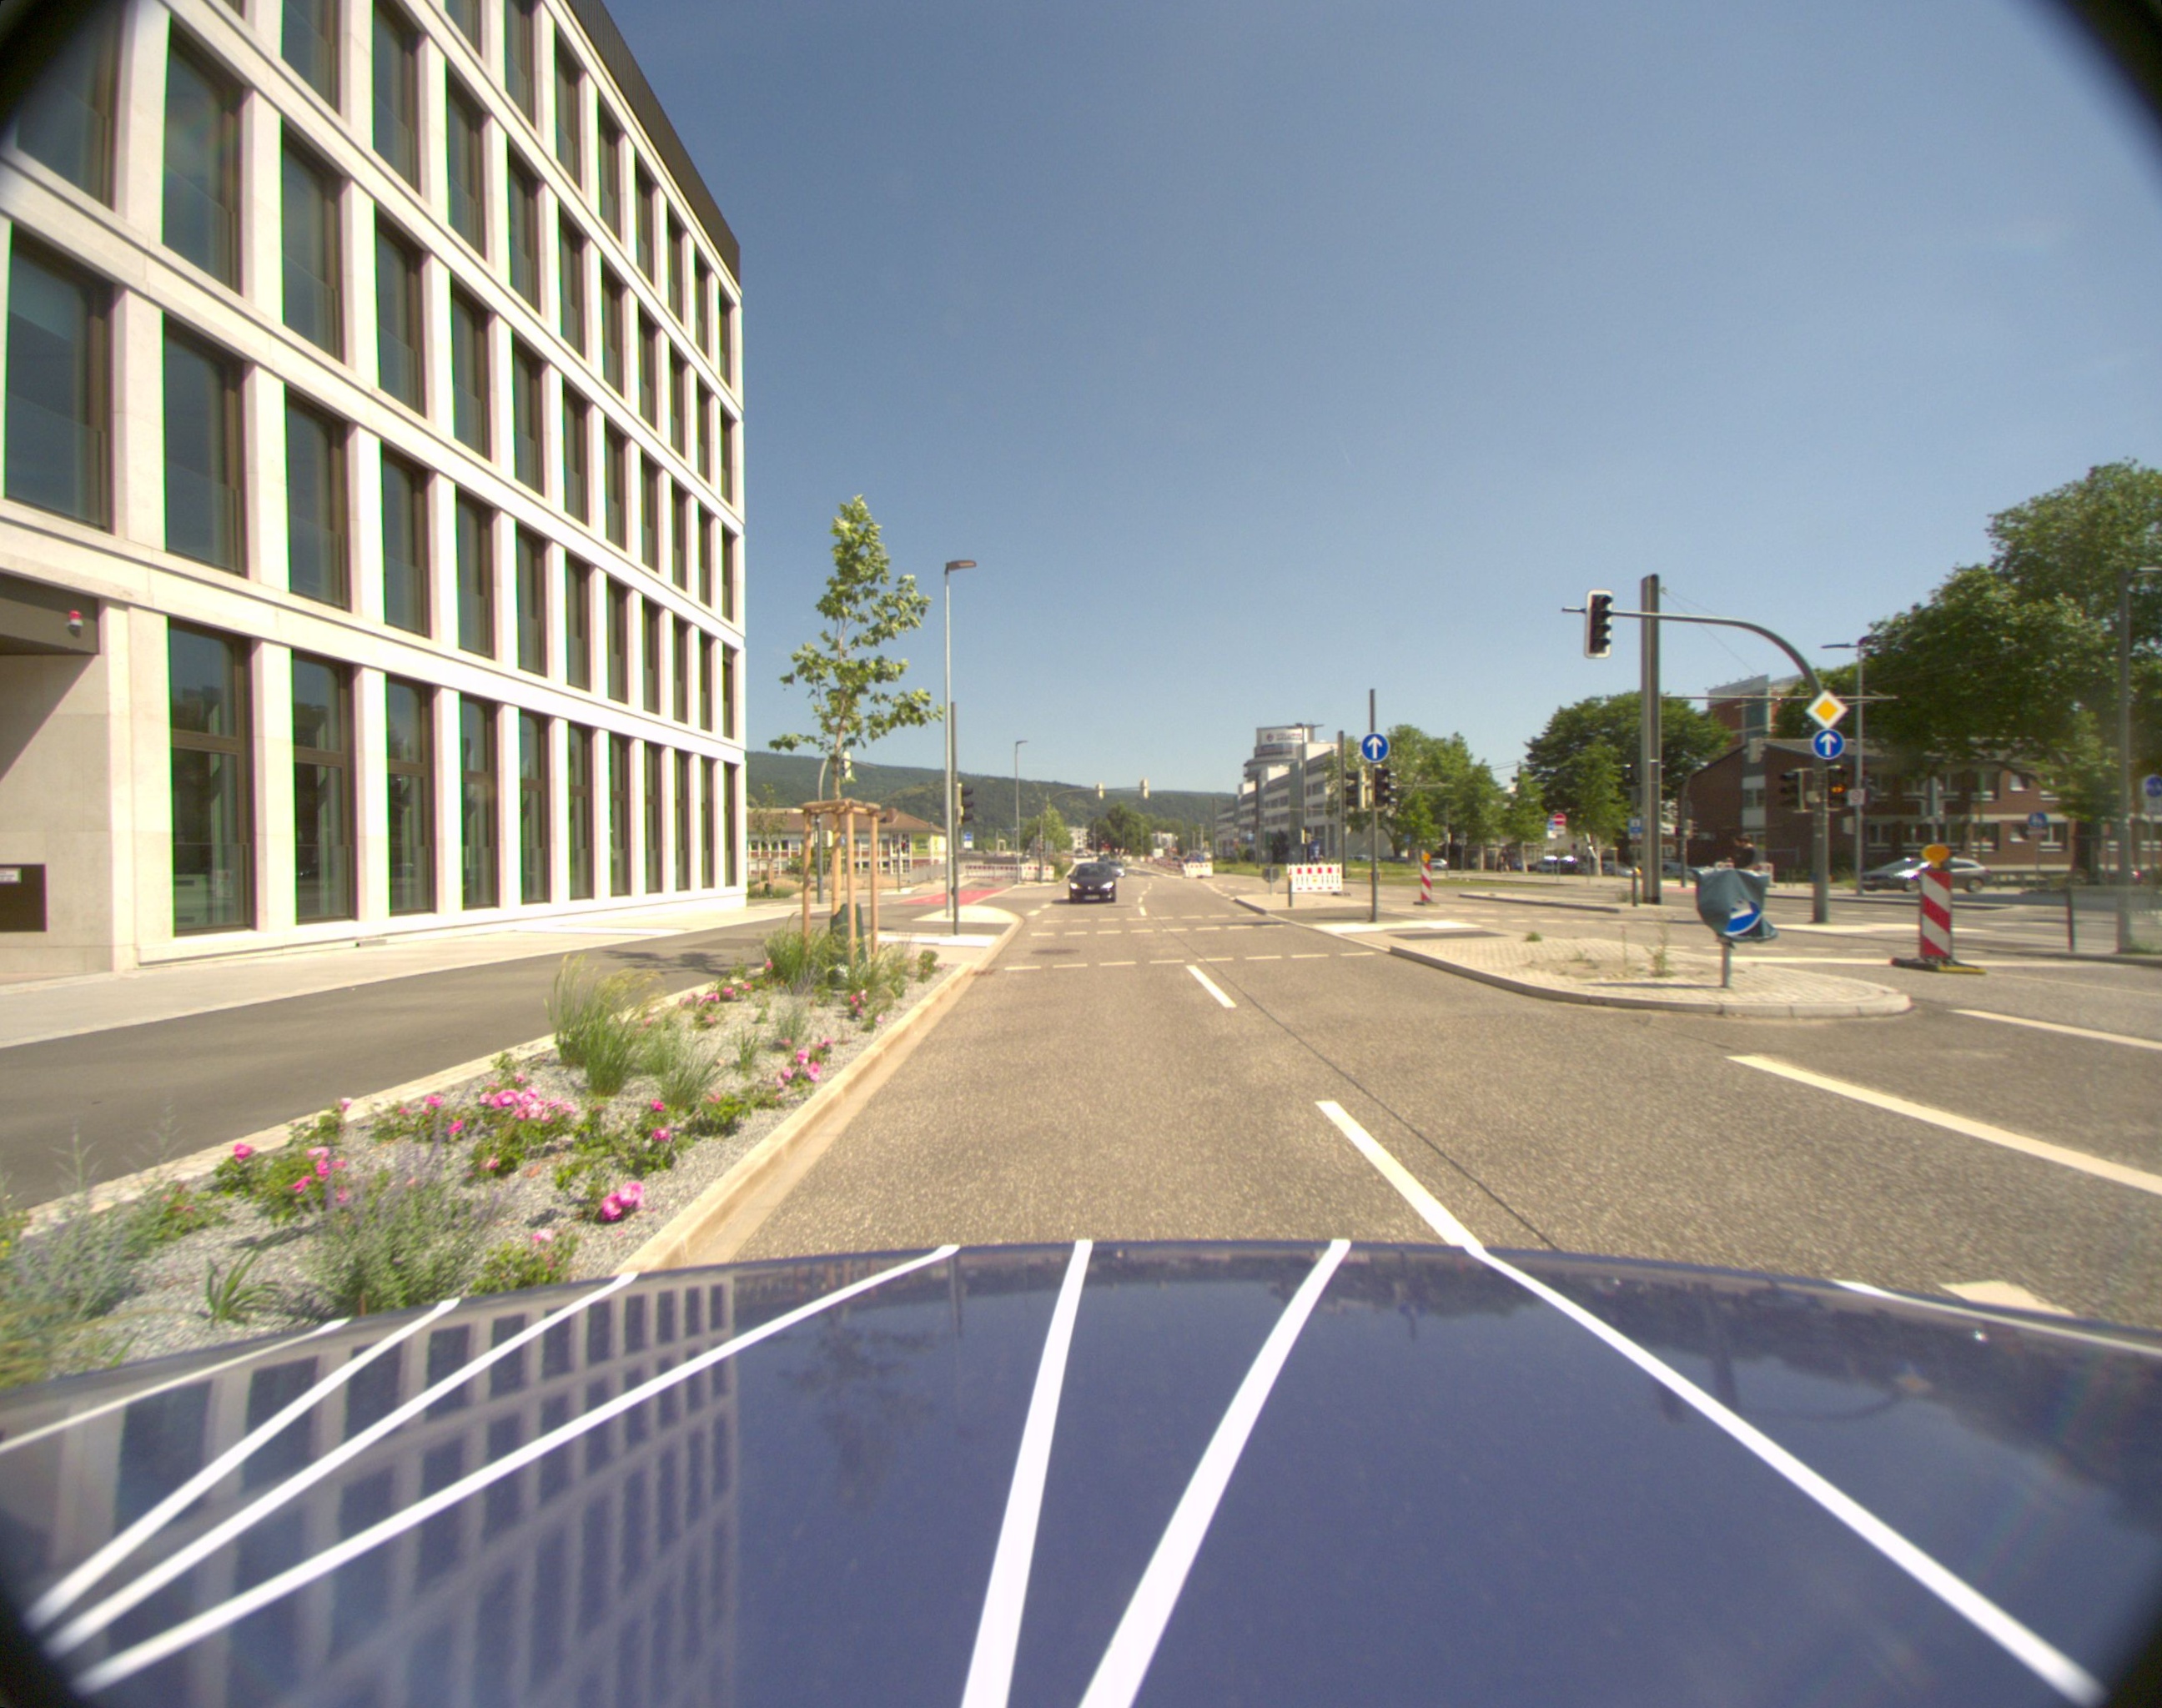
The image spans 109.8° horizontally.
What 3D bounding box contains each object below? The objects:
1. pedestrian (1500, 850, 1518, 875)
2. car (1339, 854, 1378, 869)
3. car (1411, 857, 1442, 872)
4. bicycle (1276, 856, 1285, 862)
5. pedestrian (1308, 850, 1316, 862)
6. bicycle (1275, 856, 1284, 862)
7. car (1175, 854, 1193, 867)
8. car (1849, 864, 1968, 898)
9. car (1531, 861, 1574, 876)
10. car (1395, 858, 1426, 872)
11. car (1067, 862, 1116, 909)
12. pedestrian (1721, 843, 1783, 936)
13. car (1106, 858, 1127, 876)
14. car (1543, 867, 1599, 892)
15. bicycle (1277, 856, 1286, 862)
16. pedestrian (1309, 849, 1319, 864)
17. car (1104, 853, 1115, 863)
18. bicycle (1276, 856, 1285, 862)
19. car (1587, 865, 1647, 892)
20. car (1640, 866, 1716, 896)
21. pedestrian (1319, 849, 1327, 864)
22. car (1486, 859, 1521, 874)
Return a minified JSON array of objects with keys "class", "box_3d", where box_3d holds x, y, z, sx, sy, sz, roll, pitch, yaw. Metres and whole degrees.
[{"class":"pedestrian","box_3d":[31.147,0.610,55.309,0.813,1.836,1.108,-1,0,7]},{"class":"car","box_3d":[40.391,1.095,110.548,5.063,2.167,2.117,0,1,27]},{"class":"car","box_3d":[40.738,1.229,89.660,1.773,1.581,3.636,-2,0,-4]},{"class":"bicycle","box_3d":[40.079,0.944,152.516,1.650,1.182,0.438,-2,0,2]},{"class":"pedestrian","box_3d":[31.409,0.309,103.225,0.816,1.567,0.827,0,0,6]},{"class":"bicycle","box_3d":[40.532,0.929,155.339,1.650,1.182,0.522,-2,0,6]},{"class":"car","box_3d":[12.380,0.738,91.458,1.632,1.419,4.290,2,1,3]},{"class":"car","box_3d":[36.121,1.142,33.222,3.487,1.361,1.573,-1,0,0]},{"class":"car","box_3d":[45.389,1.375,73.212,1.542,1.448,4.267,0,0,1]},{"class":"car","box_3d":[38.386,1.281,88.478,1.773,1.581,3.636,-2,0,-4]},{"class":"car","box_3d":[0.358,1.039,26.571,1.618,1.433,3.706,0,1,0]},{"class":"pedestrian","box_3d":[13.542,0.705,15.355,0.654,1.823,0.661,-1,0,5]},{"class":"car","box_3d":[2.951,1.064,63.765,1.618,1.432,3.768,0,0,0]},{"class":"car","box_3d":[39.411,1.999,61.244,1.702,1.751,4.530,-1,1,1]},{"class":"bicycle","box_3d":[39.960,0.981,151.760,1.650,1.182,0.438,-2,0,1]},{"class":"pedestrian","box_3d":[30.164,0.318,98.268,0.985,2.002,0.910,-2,1,3]},{"class":"car","box_3d":[4.618,0.621,123.895,1.618,1.433,3.768,-2,1,1]},{"class":"bicycle","box_3d":[40.500,0.929,153.945,1.650,1.182,0.438,-2,0,6]},{"class":"car","box_3d":[39.236,1.785,55.699,1.702,1.751,3.939,-1,1,1]},{"class":"car","box_3d":[39.242,1.733,50.067,1.702,1.751,4.300,-1,1,1]},{"class":"pedestrian","box_3d":[31.285,0.307,98.219,0.841,2.002,0.983,-1,0,3]},{"class":"car","box_3d":[48.199,1.452,86.678,1.773,1.581,3.636,-2,0,-4]}]
